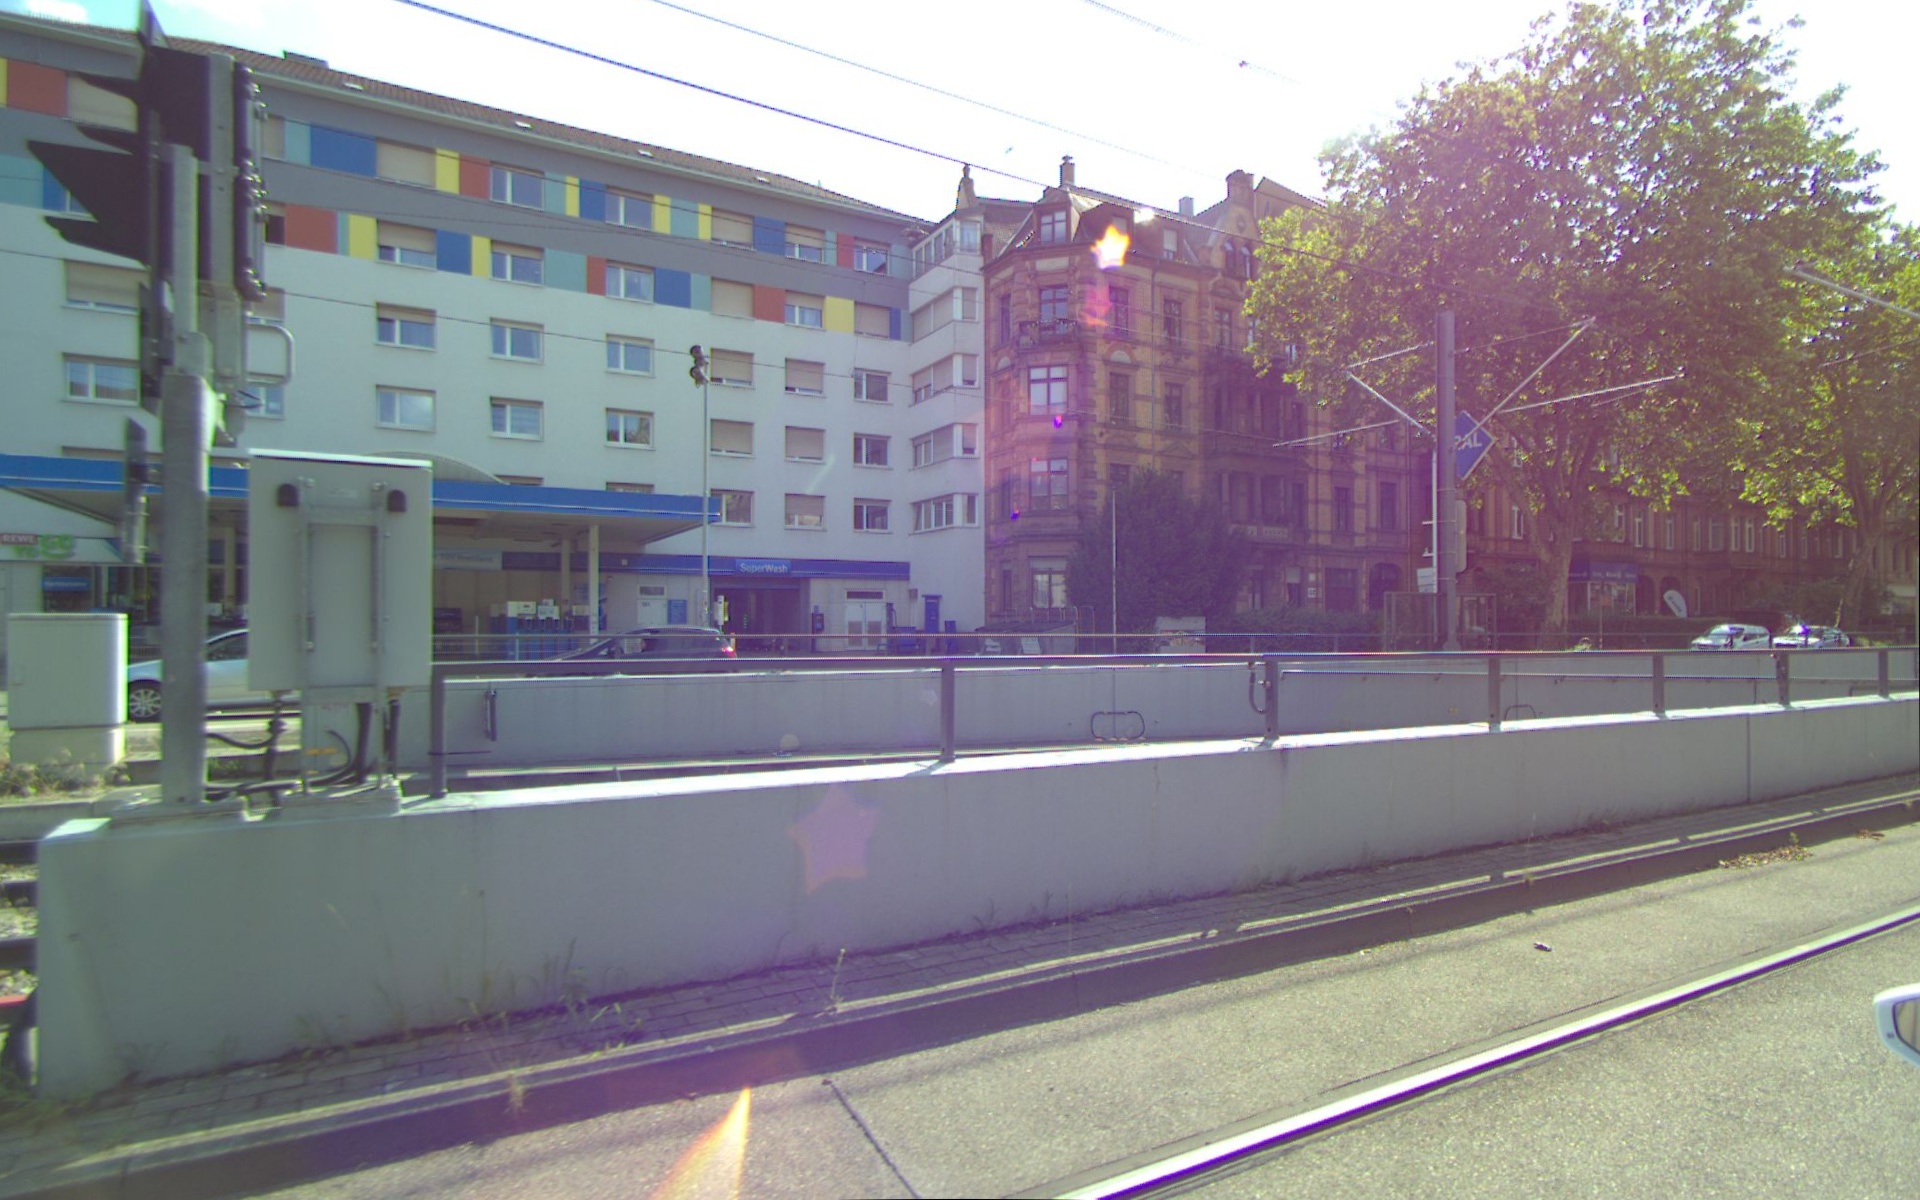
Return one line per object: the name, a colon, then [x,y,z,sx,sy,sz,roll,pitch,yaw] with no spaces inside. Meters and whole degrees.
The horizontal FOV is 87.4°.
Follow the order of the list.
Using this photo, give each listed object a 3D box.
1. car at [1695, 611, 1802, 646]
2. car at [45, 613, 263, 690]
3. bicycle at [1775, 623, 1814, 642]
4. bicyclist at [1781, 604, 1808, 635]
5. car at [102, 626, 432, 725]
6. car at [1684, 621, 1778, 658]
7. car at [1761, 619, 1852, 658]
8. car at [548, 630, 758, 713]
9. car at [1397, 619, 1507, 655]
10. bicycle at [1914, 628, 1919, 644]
car: [44.938,1.602,57.333,1.977,1.944,4.381,1,-1,-30]
car: [-19.396,1.189,24.412,3.828,1.628,1.893,-1,0,-30]
bicycle: [40.354,1.567,48.552,2.339,0.925,0.668,1,-1,-30]
bicyclist: [40.344,0.931,48.548,1.032,1.475,0.685,1,-1,-29]
car: [-11.330,1.188,16.857,4.350,1.435,1.715,0,-2,-28]
car: [29.718,1.518,38.704,3.446,1.320,1.492,0,-3,-27]
car: [35.380,1.599,41.970,3.954,1.501,1.636,0,-3,-30]
car: [-5.929,1.313,19.390,3.730,1.435,1.664,0,-1,-24]
car: [21.579,1.573,44.206,1.974,1.503,3.973,1,-1,-27]
bicycle: [55.028,2.057,57.139,2.123,0.925,0.532,1,-1,-30]
